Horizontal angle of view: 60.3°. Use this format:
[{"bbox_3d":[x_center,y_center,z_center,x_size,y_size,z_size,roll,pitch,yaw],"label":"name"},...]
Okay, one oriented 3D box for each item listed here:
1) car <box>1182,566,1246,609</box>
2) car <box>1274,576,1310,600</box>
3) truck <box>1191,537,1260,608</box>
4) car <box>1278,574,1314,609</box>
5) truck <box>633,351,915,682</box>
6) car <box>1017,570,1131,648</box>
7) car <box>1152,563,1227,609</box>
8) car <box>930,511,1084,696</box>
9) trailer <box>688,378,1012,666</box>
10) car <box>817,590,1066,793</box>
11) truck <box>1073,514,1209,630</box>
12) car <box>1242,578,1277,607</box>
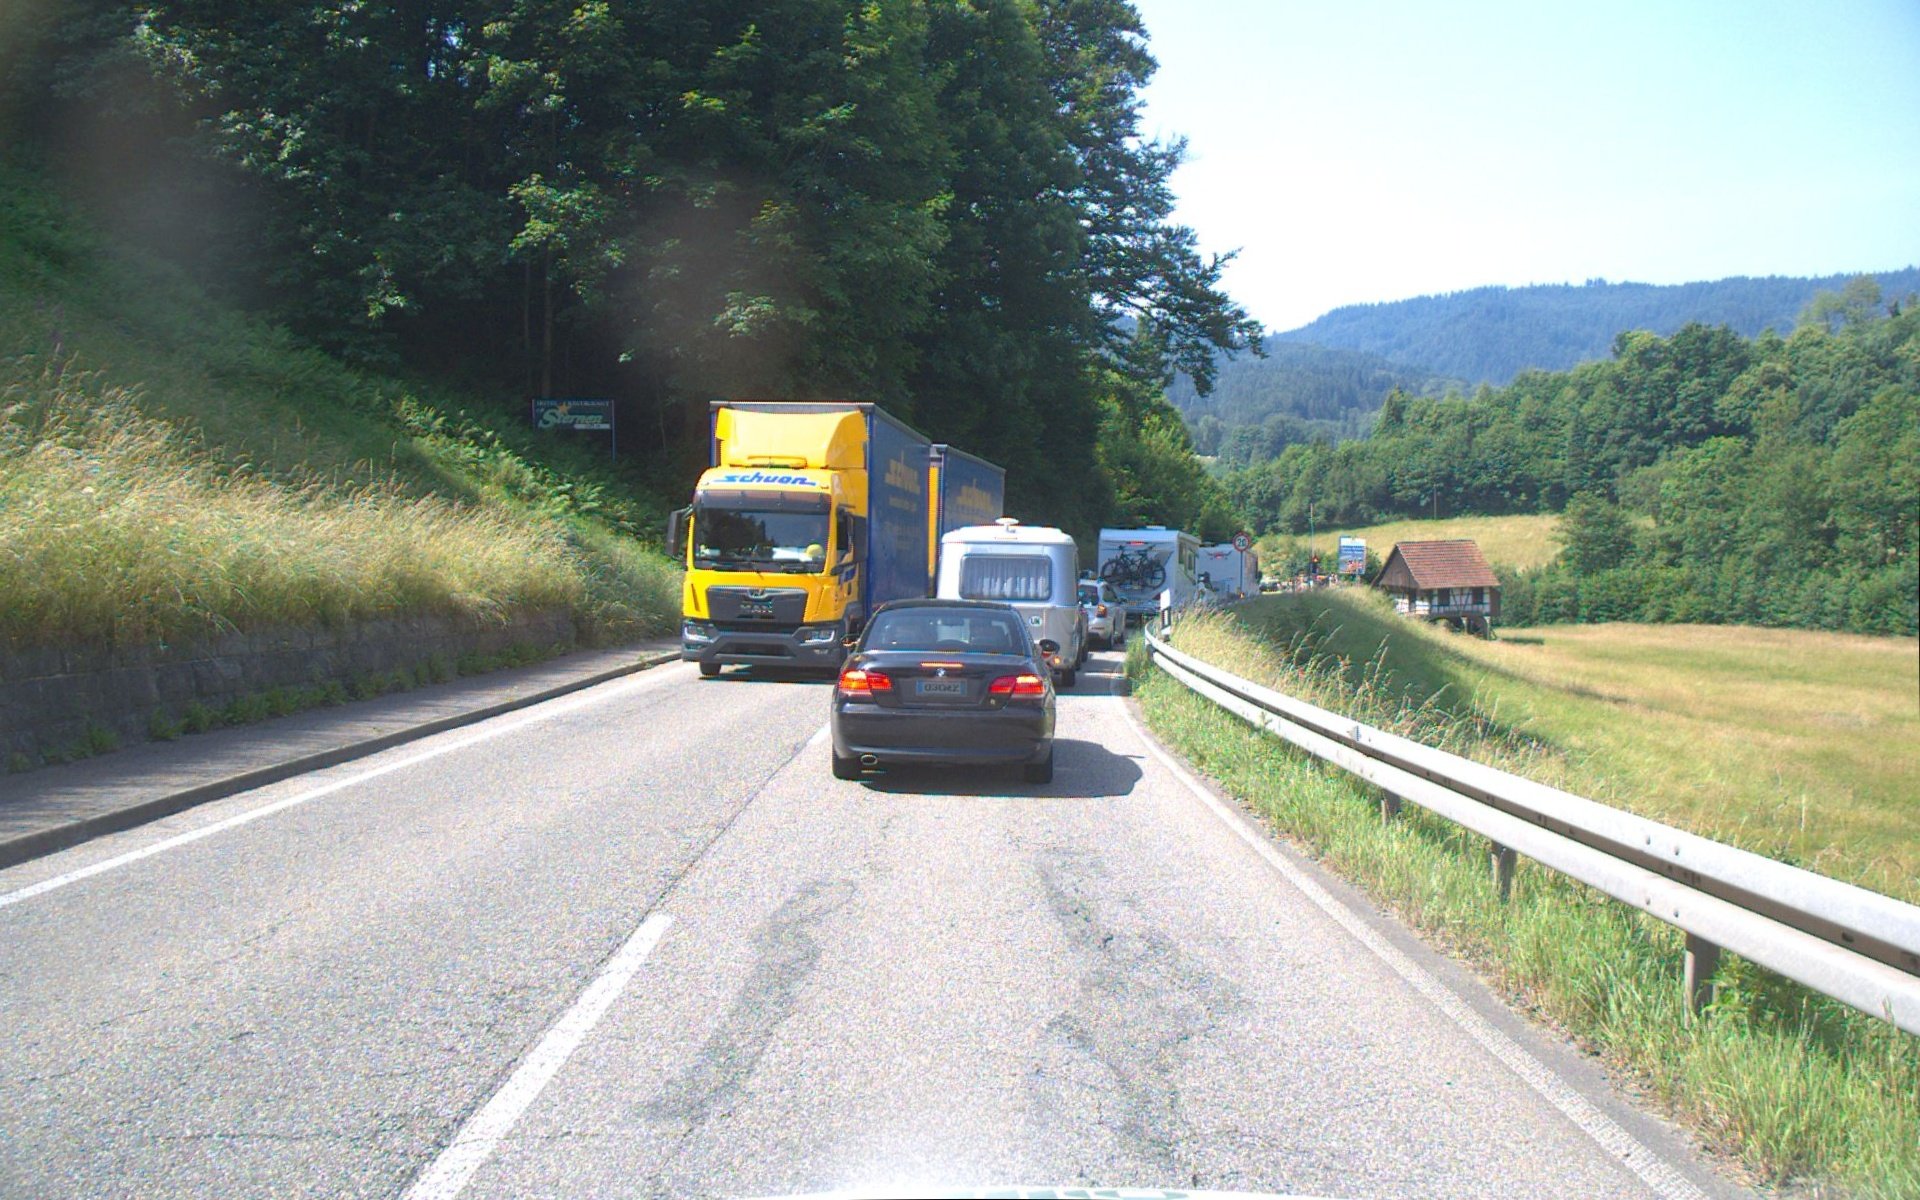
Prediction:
[{"bbox_3d":[9.853,-0.500,64.050,1.750,1.489,4.002,4,2,18],"label":"car"},{"bbox_3d":[24.084,-0.873,119.842,1.952,1.603,4.001,2,0,19],"label":"car"},{"bbox_3d":[11.434,-1.114,70.835,2.190,2.853,6.236,2,0,15],"label":"truck"},{"bbox_3d":[20.745,-0.483,102.149,1.952,1.959,4.003,4,0,13],"label":"car"},{"bbox_3d":[-2.687,-1.265,26.186,3.121,4.473,6.576,2,2,4],"label":"truck"},{"bbox_3d":[2.583,0.163,36.519,1.951,1.510,4.004,3,1,11],"label":"car"},{"bbox_3d":[8.147,-0.519,58.512,1.952,1.489,4.003,4,2,17],"label":"car"},{"bbox_3d":[0.800,-0.047,24.328,1.951,2.393,4.918,1,2,5],"label":"car"},{"bbox_3d":[-1.530,-1.417,33.818,3.190,4.494,15.330,2,1,9],"label":"trailer"},{"bbox_3d":[-0.049,0.637,13.598,1.734,1.359,3.768,1,1,2],"label":"car"},{"bbox_3d":[5.462,-0.850,48.847,2.732,3.049,6.873,3,2,16],"label":"truck"},{"bbox_3d":[16.846,-0.426,92.953,1.866,1.512,4.003,2,0,11],"label":"car"}]
